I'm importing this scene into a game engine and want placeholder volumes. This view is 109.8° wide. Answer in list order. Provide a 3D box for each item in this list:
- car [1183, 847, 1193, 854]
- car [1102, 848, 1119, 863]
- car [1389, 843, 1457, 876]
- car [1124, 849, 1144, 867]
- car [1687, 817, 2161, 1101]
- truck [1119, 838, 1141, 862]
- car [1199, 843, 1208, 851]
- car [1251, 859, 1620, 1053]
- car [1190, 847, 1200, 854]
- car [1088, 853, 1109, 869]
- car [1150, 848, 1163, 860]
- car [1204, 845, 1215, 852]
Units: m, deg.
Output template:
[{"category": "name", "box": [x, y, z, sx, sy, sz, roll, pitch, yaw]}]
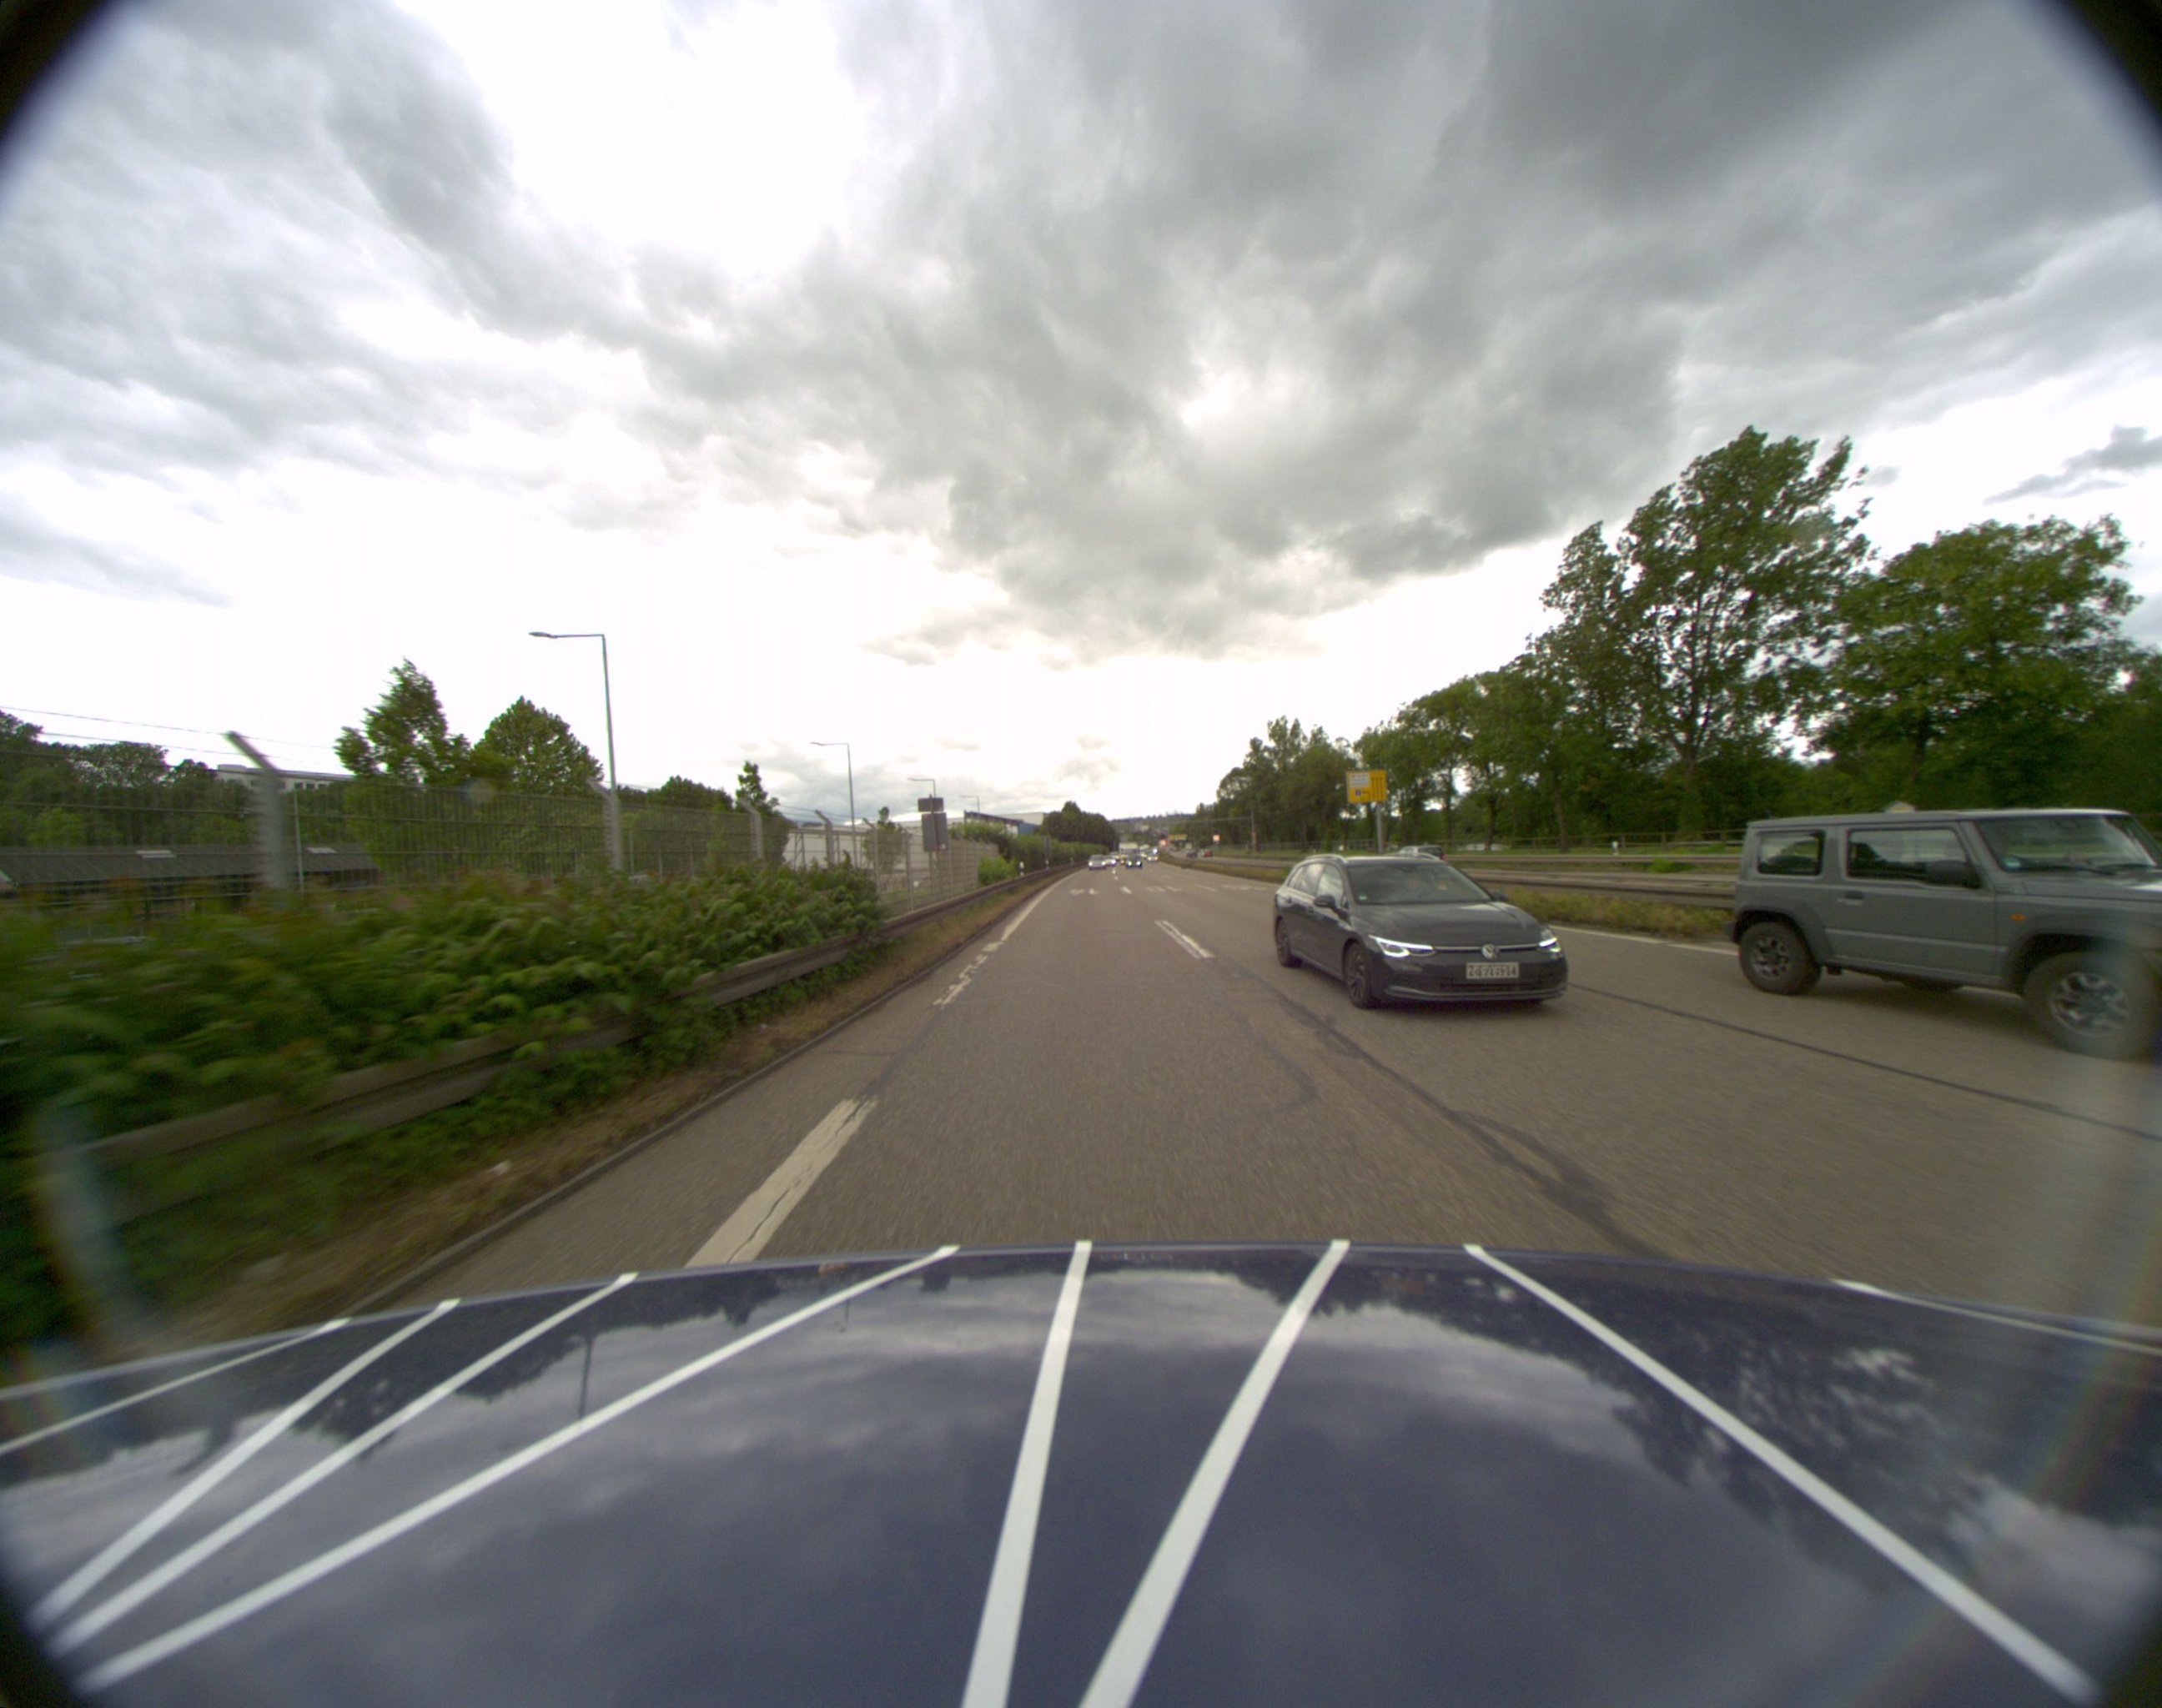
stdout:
[{"category": "car", "box": [25.679, -0.814, 182.847, 1.865, 1.456, 5.552, -2, 0, 3]}, {"category": "car", "box": [3.771, 0.206, 96.548, 1.883, 1.714, 4.148, -4, 0, 5]}, {"category": "car", "box": [16.283, 0.246, 36.379, 1.618, 1.377, 3.732, -3, 0, 1]}, {"category": "car", "box": [5.588, 0.380, 79.801, 1.883, 1.714, 4.148, -4, 0, 5]}, {"category": "car", "box": [7.219, 0.603, 5.974, 1.702, 1.676, 4.000, -1, 0, 0]}, {"category": "truck", "box": [7.257, -0.492, 110.948, 2.656, 3.120, 12.513, -4, 0, 5]}, {"category": "car", "box": [29.813, -1.634, 184.304, 1.614, 1.873, 4.562, -2, 0, 3]}, {"category": "car", "box": [3.413, 0.839, 8.587, 1.849, 1.415, 4.900, -4, 0, 1]}, {"category": "car", "box": [24.854, -0.831, 165.665, 1.664, 1.415, 3.912, -2, 0, 3]}, {"category": "car", "box": [1.898, 0.703, 80.893, 1.883, 1.530, 4.148, -4, 0, 5]}, {"category": "car", "box": [12.120, 0.000, 122.092, 1.883, 1.714, 4.148, -4, 0, 5]}, {"category": "car", "box": [28.698, -1.161, 169.704, 1.721, 1.456, 4.381, -2, 0, 3]}]
